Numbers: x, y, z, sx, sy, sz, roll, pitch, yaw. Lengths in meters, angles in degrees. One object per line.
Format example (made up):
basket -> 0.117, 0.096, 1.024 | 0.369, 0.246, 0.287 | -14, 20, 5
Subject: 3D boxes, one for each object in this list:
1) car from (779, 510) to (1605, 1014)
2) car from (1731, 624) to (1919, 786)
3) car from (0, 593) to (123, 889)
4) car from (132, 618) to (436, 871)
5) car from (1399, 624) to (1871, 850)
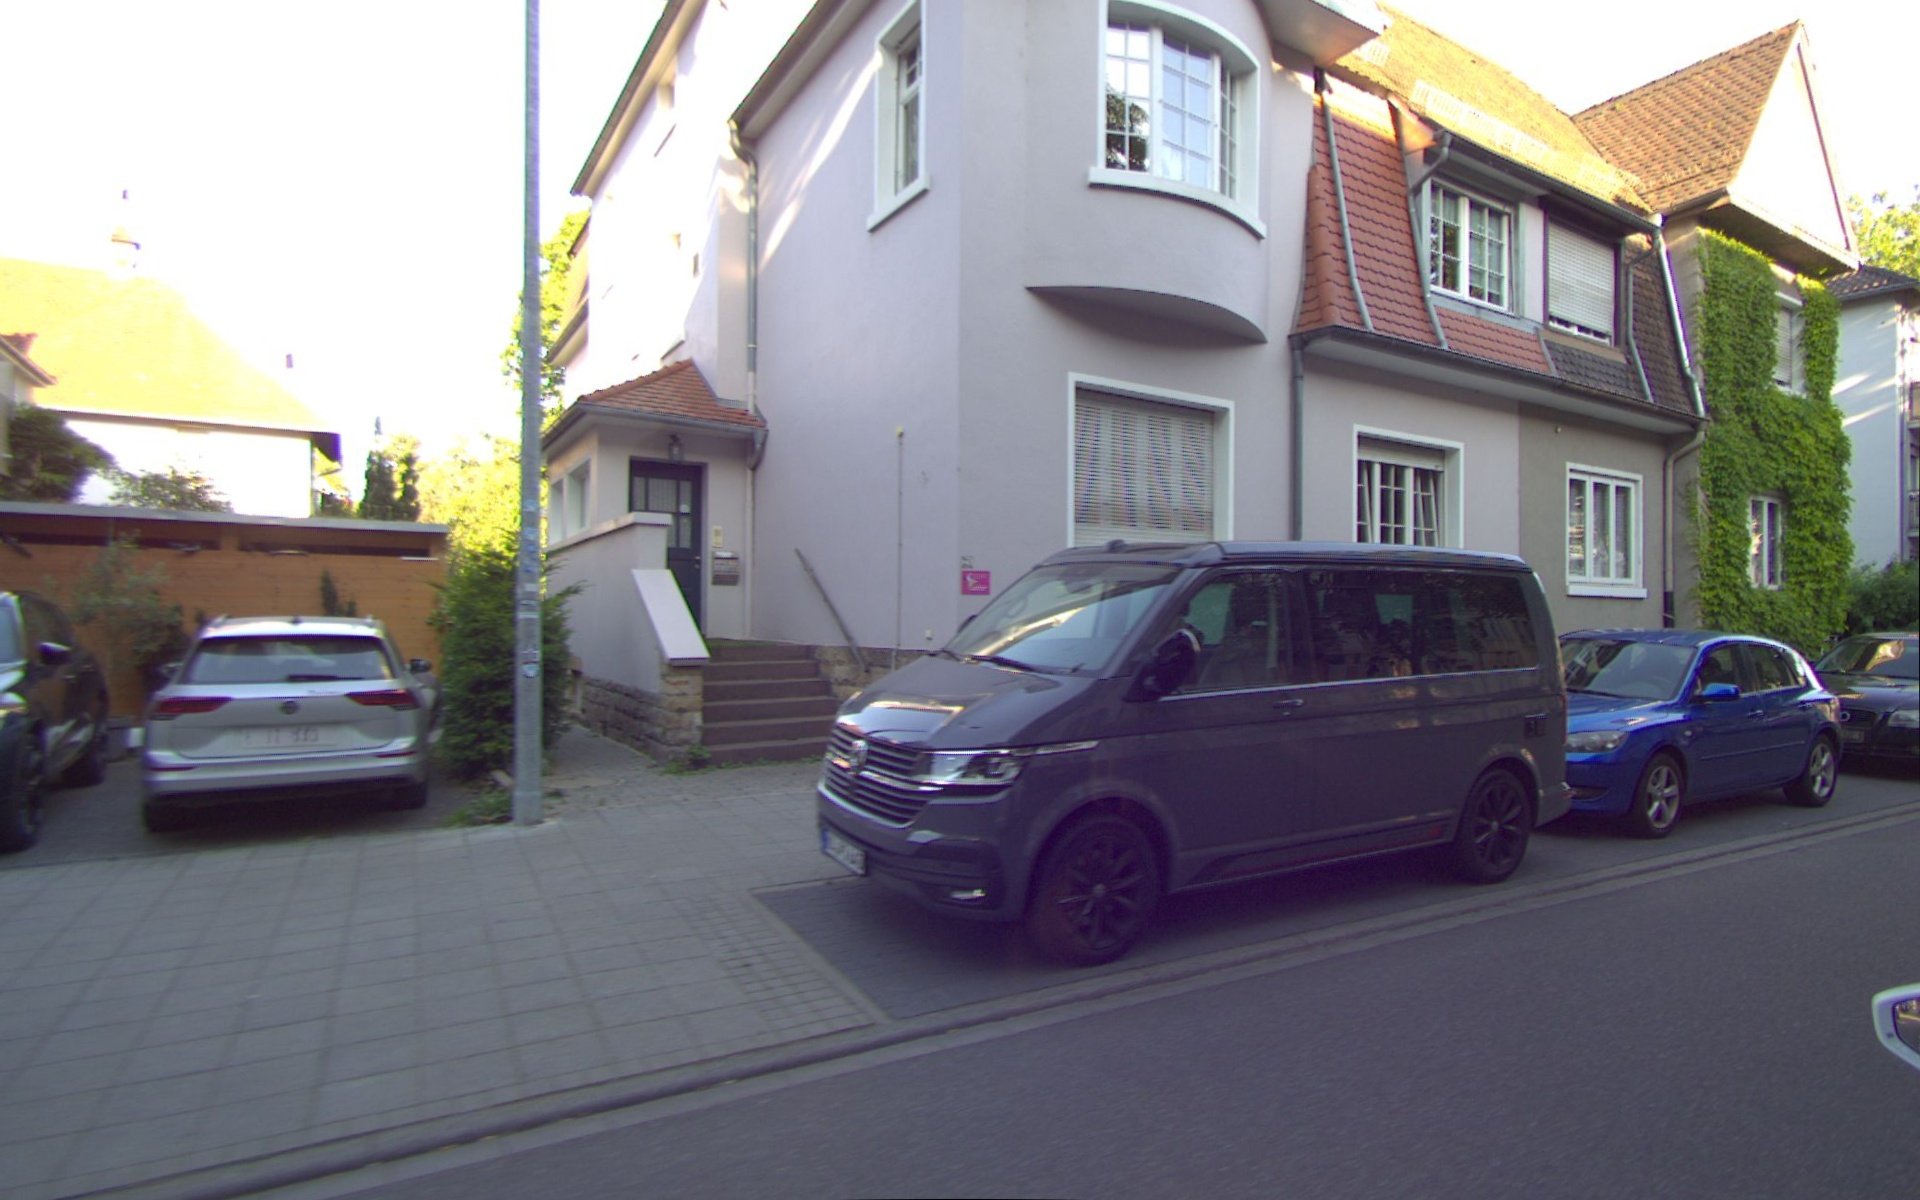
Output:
car -> 1.539, 0.651, 6.016 | 4.795, 1.974, 1.972 | 1, 0, -31
car -> 10.575, 1.032, 11.133 | 4.305, 1.466, 1.687 | 1, 0, -30
car -> -7.115, 0.790, 6.705 | 1.877, 1.643, 3.841 | 0, 0, -33
car -> -5.317, 0.902, 8.080 | 1.617, 1.463, 3.841 | 0, 0, -33
car -> 5.824, 0.968, 8.559 | 4.186, 1.466, 1.646 | 1, 1, -30
